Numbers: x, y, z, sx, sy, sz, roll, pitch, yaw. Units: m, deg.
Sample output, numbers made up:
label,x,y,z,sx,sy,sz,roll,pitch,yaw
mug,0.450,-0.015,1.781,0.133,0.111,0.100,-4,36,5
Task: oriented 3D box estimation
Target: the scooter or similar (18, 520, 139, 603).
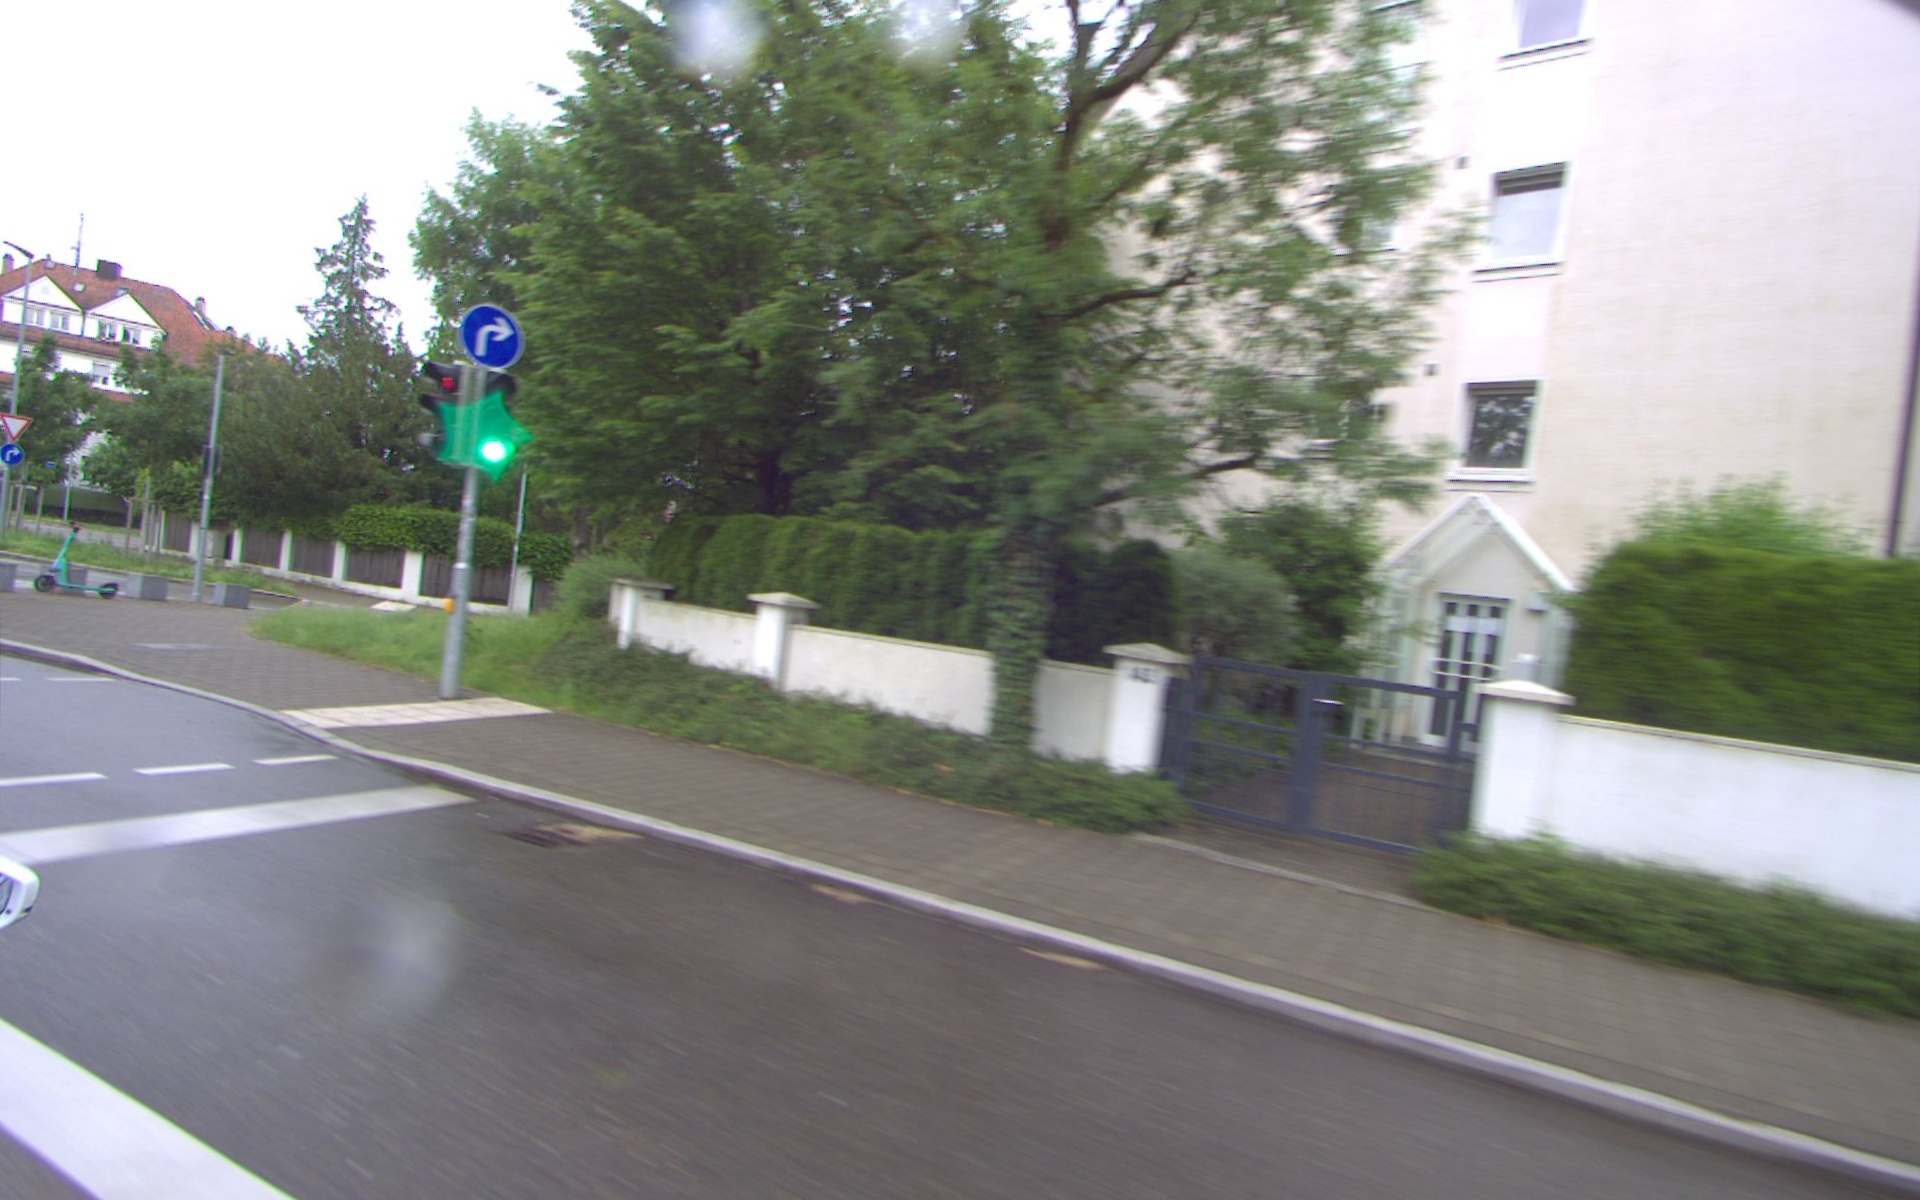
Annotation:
label,x,y,z,sx,sy,sz,roll,pitch,yaw
scooter or similar,-15.047,-0.639,17.208,0.515,1.220,1.353,6,-3,23
